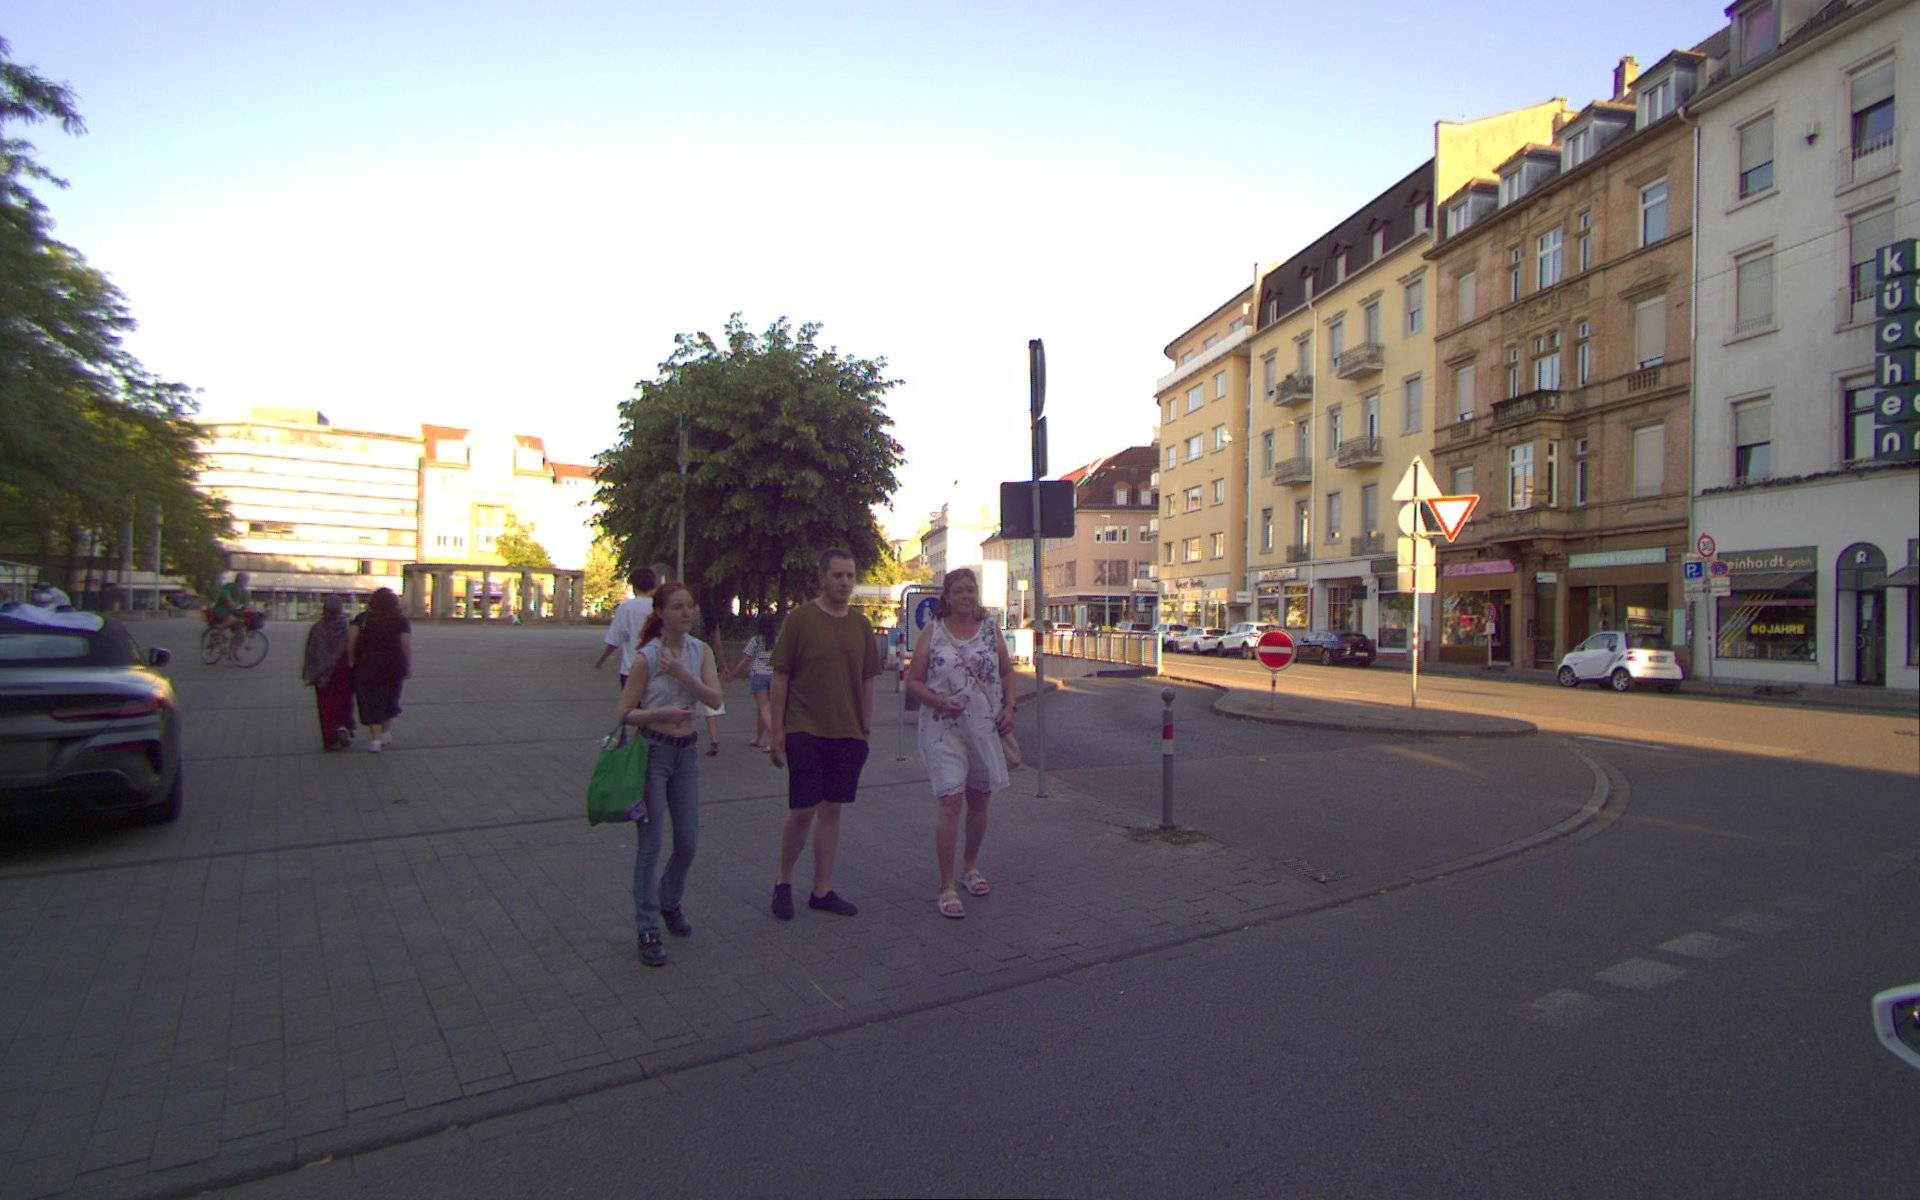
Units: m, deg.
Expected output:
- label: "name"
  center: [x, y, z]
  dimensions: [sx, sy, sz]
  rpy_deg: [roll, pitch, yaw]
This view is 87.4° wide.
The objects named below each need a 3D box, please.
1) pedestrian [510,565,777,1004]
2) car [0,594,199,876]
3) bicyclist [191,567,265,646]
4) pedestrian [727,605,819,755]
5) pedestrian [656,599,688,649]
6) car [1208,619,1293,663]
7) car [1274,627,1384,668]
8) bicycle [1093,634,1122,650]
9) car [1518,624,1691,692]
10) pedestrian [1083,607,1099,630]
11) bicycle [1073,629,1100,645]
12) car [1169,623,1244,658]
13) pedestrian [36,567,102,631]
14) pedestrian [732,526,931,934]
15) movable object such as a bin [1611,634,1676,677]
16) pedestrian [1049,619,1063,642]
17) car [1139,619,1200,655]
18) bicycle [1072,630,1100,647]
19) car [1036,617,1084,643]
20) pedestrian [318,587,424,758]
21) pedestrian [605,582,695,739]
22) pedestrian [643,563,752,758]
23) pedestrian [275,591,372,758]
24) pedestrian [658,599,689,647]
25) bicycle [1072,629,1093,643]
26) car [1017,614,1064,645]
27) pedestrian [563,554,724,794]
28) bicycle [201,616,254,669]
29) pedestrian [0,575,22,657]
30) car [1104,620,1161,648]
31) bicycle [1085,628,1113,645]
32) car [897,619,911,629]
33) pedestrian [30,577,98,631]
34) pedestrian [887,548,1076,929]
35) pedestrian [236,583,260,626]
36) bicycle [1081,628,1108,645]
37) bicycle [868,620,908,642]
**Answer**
- label: "pedestrian"
  center: [-1.388, 0.713, 4.419]
  dimensions: [0.876, 1.691, 0.705]
  rpy_deg: [1, 0, -42]
- label: "car"
  center: [-6.738, 0.720, 6.982]
  dimensions: [2.090, 1.450, 4.397]
  rpy_deg: [2, 0, -40]
- label: "bicyclist"
  center: [-13.315, 0.125, 18.305]
  dimensions: [1.000, 1.408, 0.694]
  rpy_deg: [2, -1, -32]
- label: "pedestrian"
  center: [-1.966, 0.816, 10.592]
  dimensions: [0.703, 1.506, 0.603]
  rpy_deg: [2, 0, 27]
- label: "pedestrian"
  center: [-12.103, 1.023, 42.252]
  dimensions: [0.896, 2.040, 0.919]
  rpy_deg: [2, -1, 13]
- label: "car"
  center: [13.289, 1.830, 46.318]
  dimensions: [1.854, 1.768, 4.650]
  rpy_deg: [2, 0, -10]
- label: "car"
  center: [14.688, 1.849, 40.311]
  dimensions: [1.964, 1.453, 4.842]
  rpy_deg: [2, -1, -10]
- label: "bicycle"
  center: [10.254, 2.928, 69.782]
  dimensions: [1.858, 1.127, 0.592]
  rpy_deg: [1, 0, -14]
- label: "car"
  center: [17.322, 1.510, 27.247]
  dimensions: [1.675, 1.606, 3.992]
  rpy_deg: [1, 0, -10]
- label: "pedestrian"
  center: [9.991, 1.405, 76.638]
  dimensions: [0.863, 1.743, 0.752]
  rpy_deg: [3, -1, -35]
- label: "bicycle"
  center: [9.193, 2.689, 73.094]
  dimensions: [1.858, 1.183, 0.721]
  rpy_deg: [1, -1, -14]
- label: "car"
  center: [12.636, 2.044, 51.885]
  dimensions: [1.986, 1.564, 4.861]
  rpy_deg: [2, 0, -10]
- label: "pedestrian"
  center: [-24.201, -0.016, 27.301]
  dimensions: [1.256, 1.669, 0.701]
  rpy_deg: [2, -1, -38]
- label: "pedestrian"
  center: [-0.681, 0.616, 5.162]
  dimensions: [0.839, 1.902, 0.711]
  rpy_deg: [1, 0, -20]
- label: "movable object such as a bin"
  center: [20.057, 1.624, 29.510]
  dimensions: [0.853, 1.202, 1.395]
  rpy_deg: [1, -1, -10]
- label: "pedestrian"
  center: [7.568, 2.400, 78.917]
  dimensions: [0.784, 1.743, 0.809]
  rpy_deg: [2, -1, -17]
- label: "car"
  center: [11.916, 2.082, 57.413]
  dimensions: [1.840, 1.785, 4.399]
  rpy_deg: [2, 0, -10]
- label: "bicycle"
  center: [9.268, 2.830, 73.927]
  dimensions: [1.858, 1.127, 0.760]
  rpy_deg: [2, -1, -14]
- label: "car"
  center: [6.837, 2.044, 69.330]
  dimensions: [2.300, 1.625, 3.887]
  rpy_deg: [2, -1, -10]
- label: "pedestrian"
  center: [-5.789, 0.685, 9.914]
  dimensions: [0.788, 1.603, 0.726]
  rpy_deg: [1, 0, -25]
- label: "pedestrian"
  center: [-3.638, 0.685, 11.816]
  dimensions: [0.675, 1.769, 0.715]
  rpy_deg: [2, 0, 27]
- label: "pedestrian"
  center: [-2.688, 0.591, 10.314]
  dimensions: [0.767, 1.900, 0.714]
  rpy_deg: [2, 0, 27]
- label: "pedestrian"
  center: [-6.195, 0.709, 9.808]
  dimensions: [0.670, 1.563, 0.589]
  rpy_deg: [1, 0, -22]
- label: "pedestrian"
  center: [-12.358, 0.991, 43.377]
  dimensions: [0.896, 2.040, 0.919]
  rpy_deg: [2, -1, 13]
- label: "bicycle"
  center: [9.084, 2.648, 74.507]
  dimensions: [1.479, 1.040, 0.511]
  rpy_deg: [1, -1, -15]
- label: "car"
  center: [5.019, 1.832, 63.081]
  dimensions: [1.964, 1.773, 3.993]
  rpy_deg: [2, -1, -10]
- label: "pedestrian"
  center: [-2.632, 0.585, 8.449]
  dimensions: [0.965, 1.878, 0.890]
  rpy_deg: [2, 0, 6]
- label: "bicycle"
  center: [-13.222, 0.749, 18.156]
  dimensions: [0.633, 0.893, 1.616]
  rpy_deg: [2, -1, -32]
- label: "pedestrian"
  center: [-20.816, 0.327, 21.519]
  dimensions: [0.912, 1.749, 0.696]
  rpy_deg: [2, -1, -36]
- label: "car"
  center: [10.864, 2.119, 63.553]
  dimensions: [1.965, 1.634, 4.794]
  rpy_deg: [2, -1, -11]
- label: "bicycle"
  center: [9.829, 2.601, 70.850]
  dimensions: [1.858, 1.127, 0.592]
  rpy_deg: [2, -3, -14]
- label: "car"
  center: [-9.990, 4.308, 178.488]
  dimensions: [1.964, 1.638, 3.994]
  rpy_deg: [2, -1, -10]
- label: "pedestrian"
  center: [-23.880, 0.108, 26.799]
  dimensions: [1.256, 1.398, 0.729]
  rpy_deg: [2, -1, -39]
- label: "pedestrian"
  center: [0.094, 0.675, 5.221]
  dimensions: [0.865, 1.827, 0.714]
  rpy_deg: [2, 0, -2]
- label: "pedestrian"
  center: [-33.267, 0.203, 46.910]
  dimensions: [0.794, 1.974, 0.726]
  rpy_deg: [1, -1, 44]
- label: "bicycle"
  center: [9.578, 2.580, 71.651]
  dimensions: [1.858, 1.127, 0.520]
  rpy_deg: [2, -1, -14]
- label: "bicycle"
  center: [-4.703, 2.027, 65.850]
  dimensions: [2.460, 1.301, 0.816]
  rpy_deg: [2, -1, 10]
